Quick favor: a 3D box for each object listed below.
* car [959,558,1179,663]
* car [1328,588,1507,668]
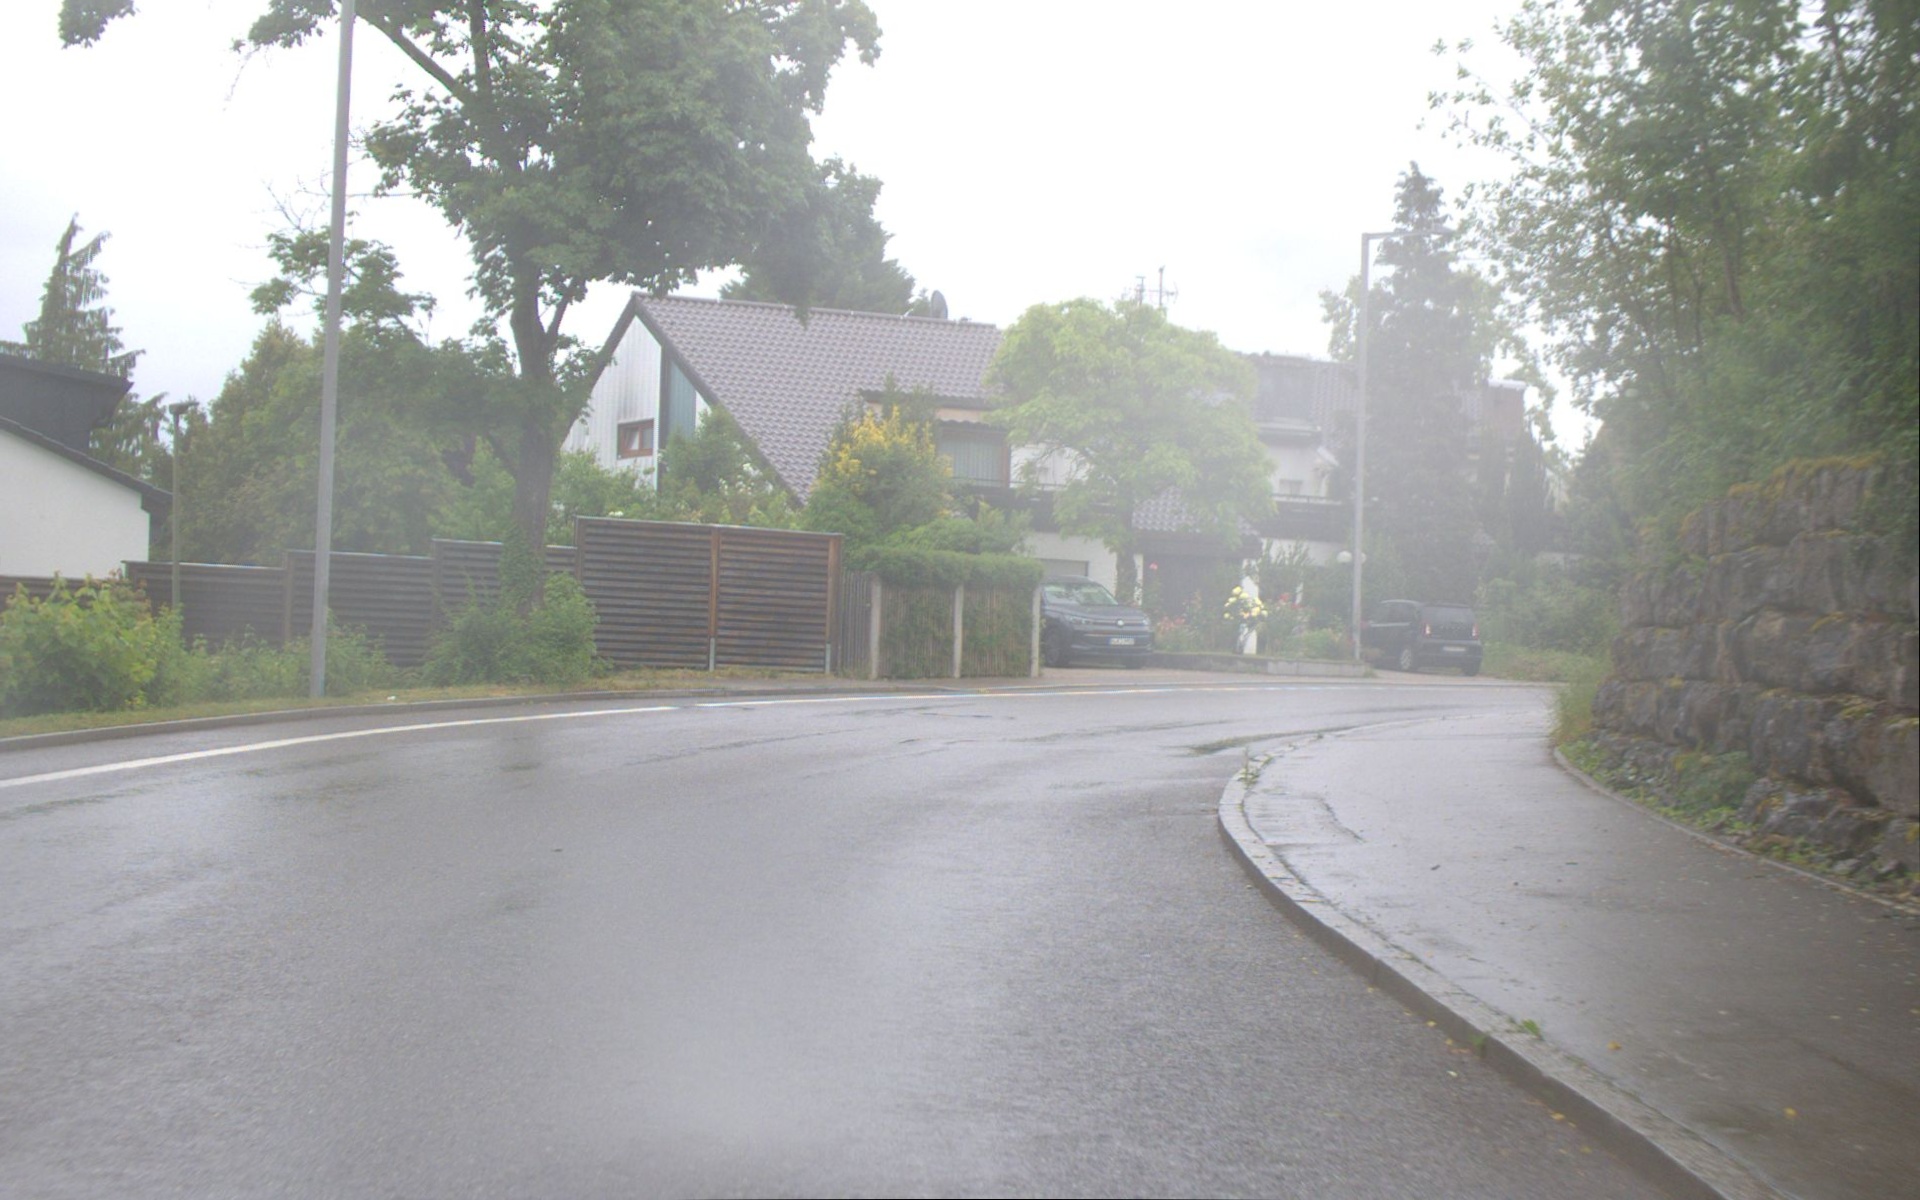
[{"bbox_3d":[1.954,0.174,62.748,2.007,1.626,4.000,3,1,-33],"label":"car"},{"bbox_3d":[9.244,0.552,69.798,1.934,1.384,4.001,4,0,-19],"label":"car"}]
